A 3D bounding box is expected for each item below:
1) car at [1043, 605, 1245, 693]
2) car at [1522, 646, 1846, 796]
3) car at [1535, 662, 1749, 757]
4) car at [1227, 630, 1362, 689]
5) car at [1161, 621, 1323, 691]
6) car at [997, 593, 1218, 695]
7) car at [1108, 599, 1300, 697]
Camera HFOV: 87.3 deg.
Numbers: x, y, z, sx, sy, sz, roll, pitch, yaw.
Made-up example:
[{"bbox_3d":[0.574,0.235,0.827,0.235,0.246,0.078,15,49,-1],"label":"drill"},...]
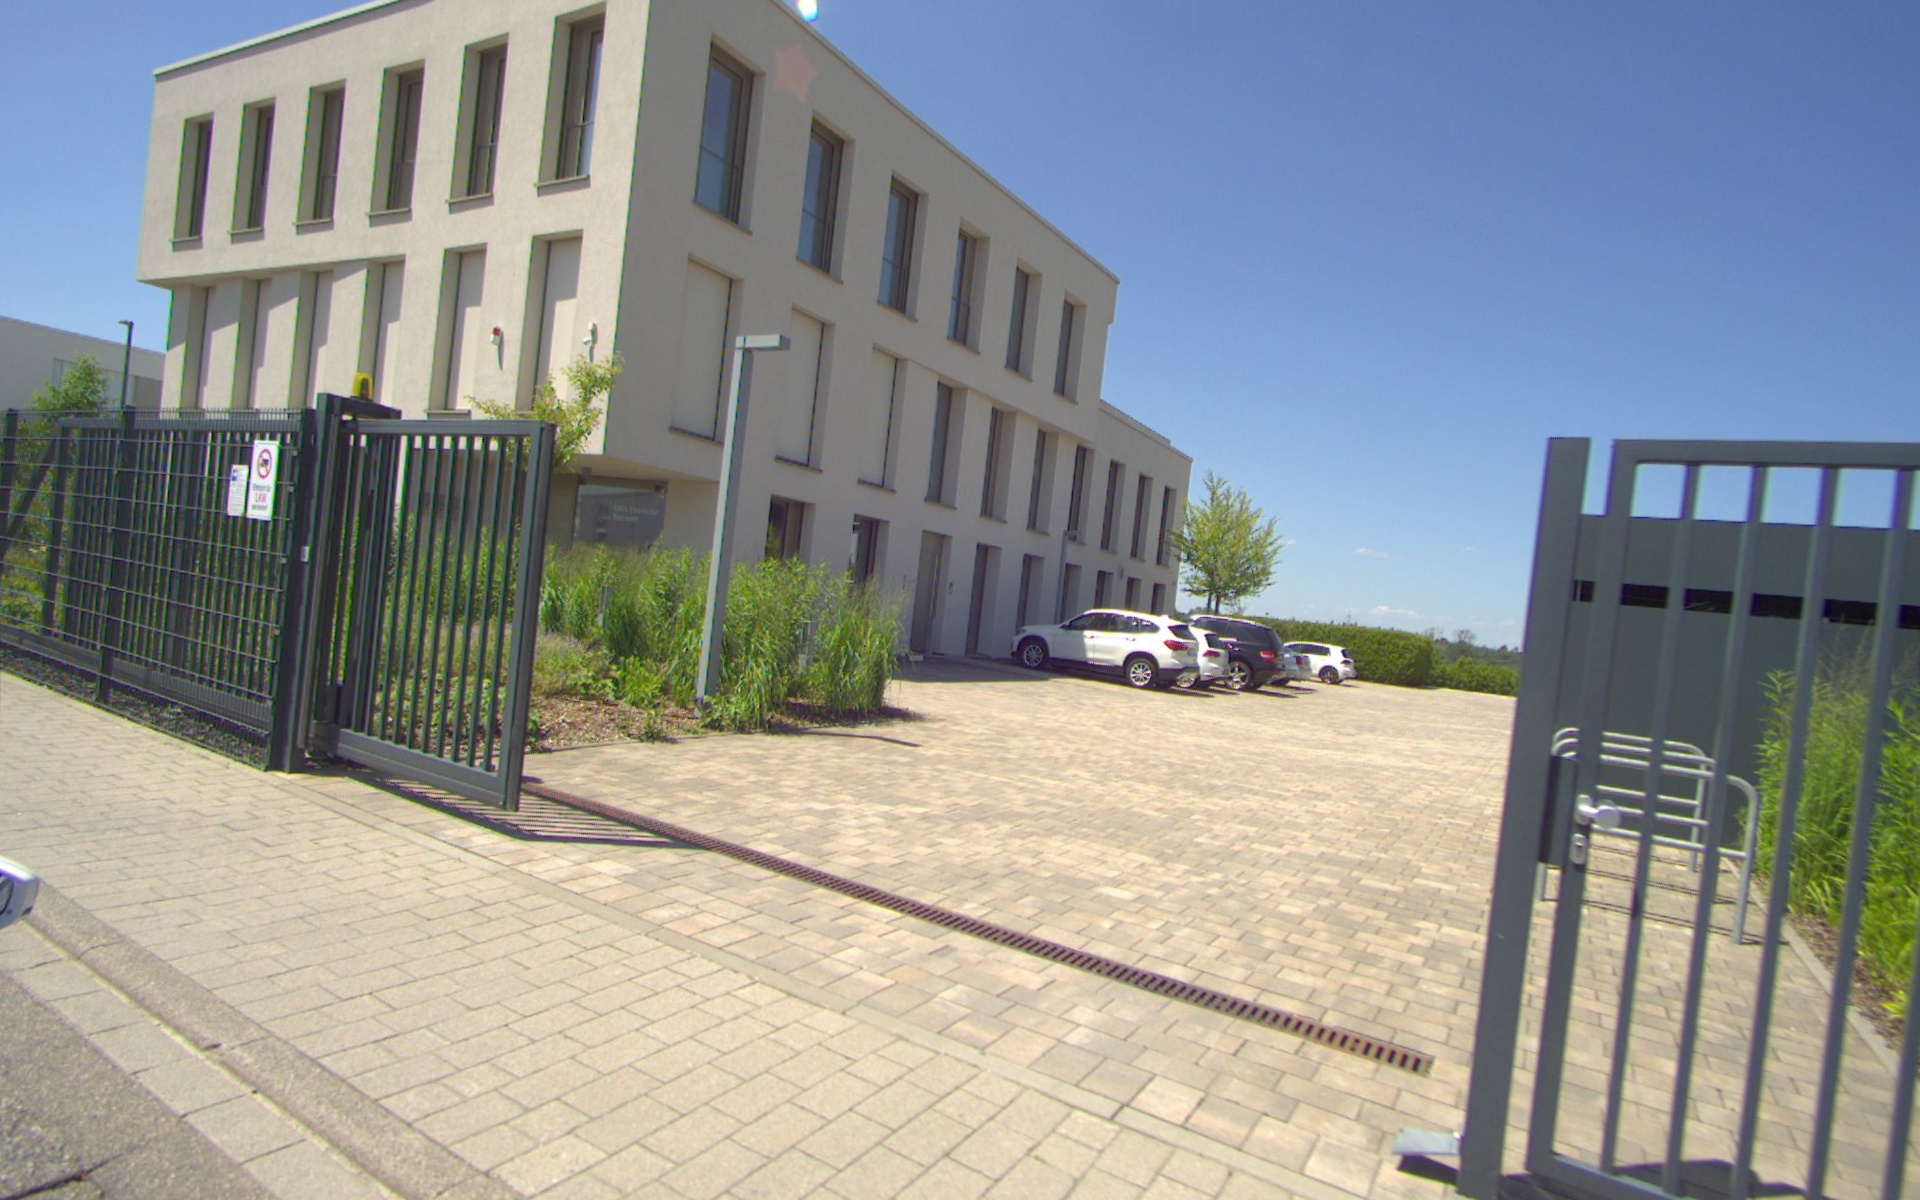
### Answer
[{"bbox_3d":[4.589,1.196,25.220,4.443,1.505,1.996,8,1,31],"label":"car"},{"bbox_3d":[11.564,1.860,16.438,3.934,1.694,1.868,7,1,32],"label":"car"},{"bbox_3d":[16.000,2.509,23.860,3.934,1.579,1.868,7,1,32],"label":"car"},{"bbox_3d":[12.762,2.252,38.464,4.443,1.505,1.996,8,1,31],"label":"car"},{"bbox_3d":[8.939,1.742,31.962,4.443,1.505,1.996,8,1,31],"label":"car"},{"bbox_3d":[3.357,0.979,23.101,4.443,1.608,1.996,8,1,31],"label":"car"},{"bbox_3d":[6.542,1.256,27.071,4.443,1.915,1.996,8,1,31],"label":"car"}]
